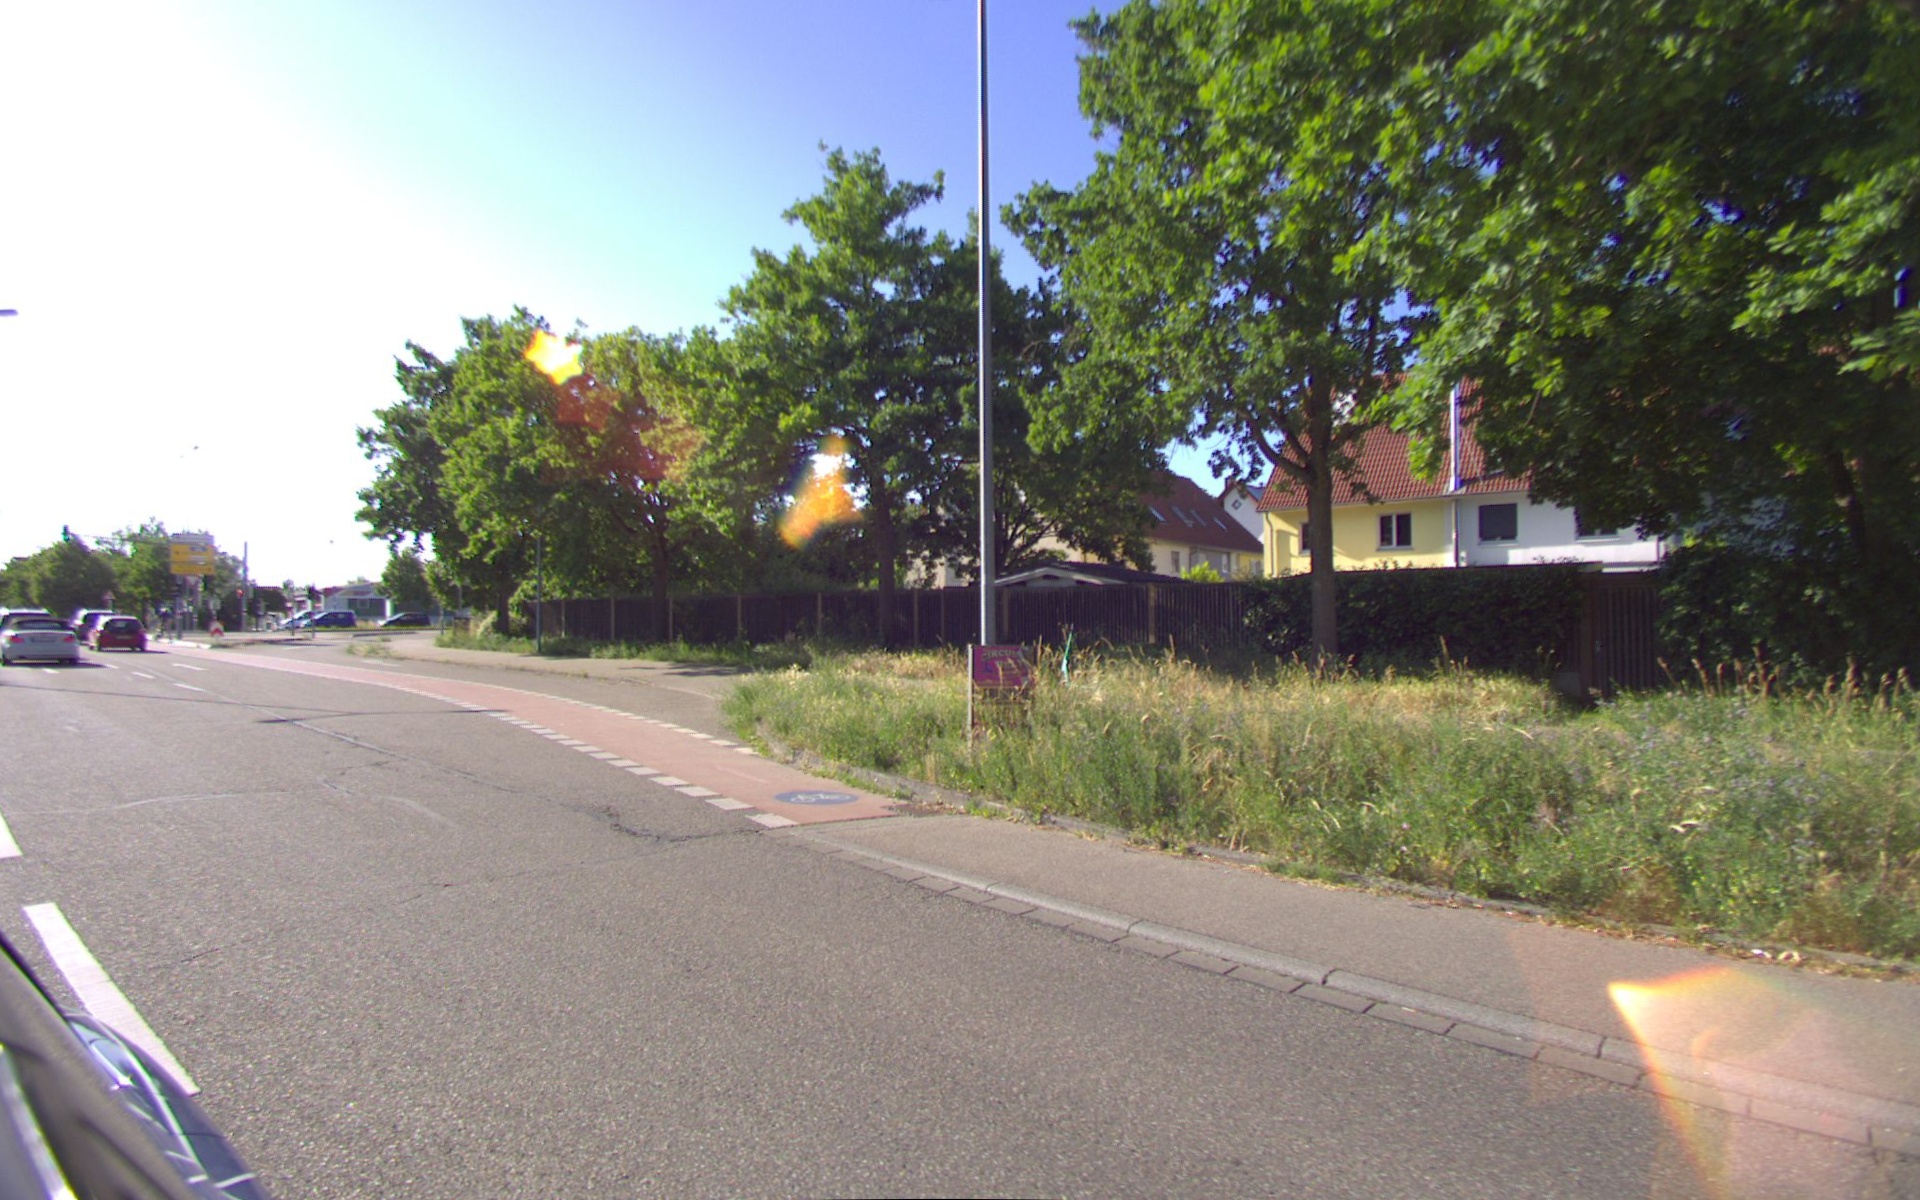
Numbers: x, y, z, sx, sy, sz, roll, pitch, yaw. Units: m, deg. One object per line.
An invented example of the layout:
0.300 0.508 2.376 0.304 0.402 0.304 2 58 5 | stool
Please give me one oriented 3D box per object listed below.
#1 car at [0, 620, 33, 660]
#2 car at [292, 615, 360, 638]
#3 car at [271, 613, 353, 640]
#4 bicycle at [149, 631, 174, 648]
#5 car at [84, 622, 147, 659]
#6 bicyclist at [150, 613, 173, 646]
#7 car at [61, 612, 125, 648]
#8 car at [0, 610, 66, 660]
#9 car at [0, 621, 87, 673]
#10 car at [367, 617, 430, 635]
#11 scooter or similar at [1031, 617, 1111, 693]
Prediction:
-37.309 1.530 39.272 3.889 1.494 1.727 -1 -2 44 | car
-47.671 1.995 76.124 1.891 1.657 3.986 -4 -4 39 | car
-52.214 2.113 81.660 2.046 2.029 5.205 -4 -4 39 | car
-42.344 2.067 53.645 1.990 0.854 0.740 -1 -2 43 | bicycle
-35.180 1.657 42.121 3.714 1.494 1.627 -1 -2 44 | car
-42.354 1.559 53.675 1.242 1.715 0.736 -1 -2 43 | bicyclist
-42.736 1.462 49.853 4.531 1.656 1.971 -1 -2 44 | car
-32.746 1.192 35.256 4.531 1.628 1.971 -1 -2 43 | car
-27.838 1.372 30.400 4.399 1.461 1.971 -1 -2 43 | car
-44.525 2.045 80.287 1.891 1.284 3.986 -4 -4 39 | car
1.886 0.931 17.317 0.532 1.228 1.417 -2 -1 -34 | scooter or similar
